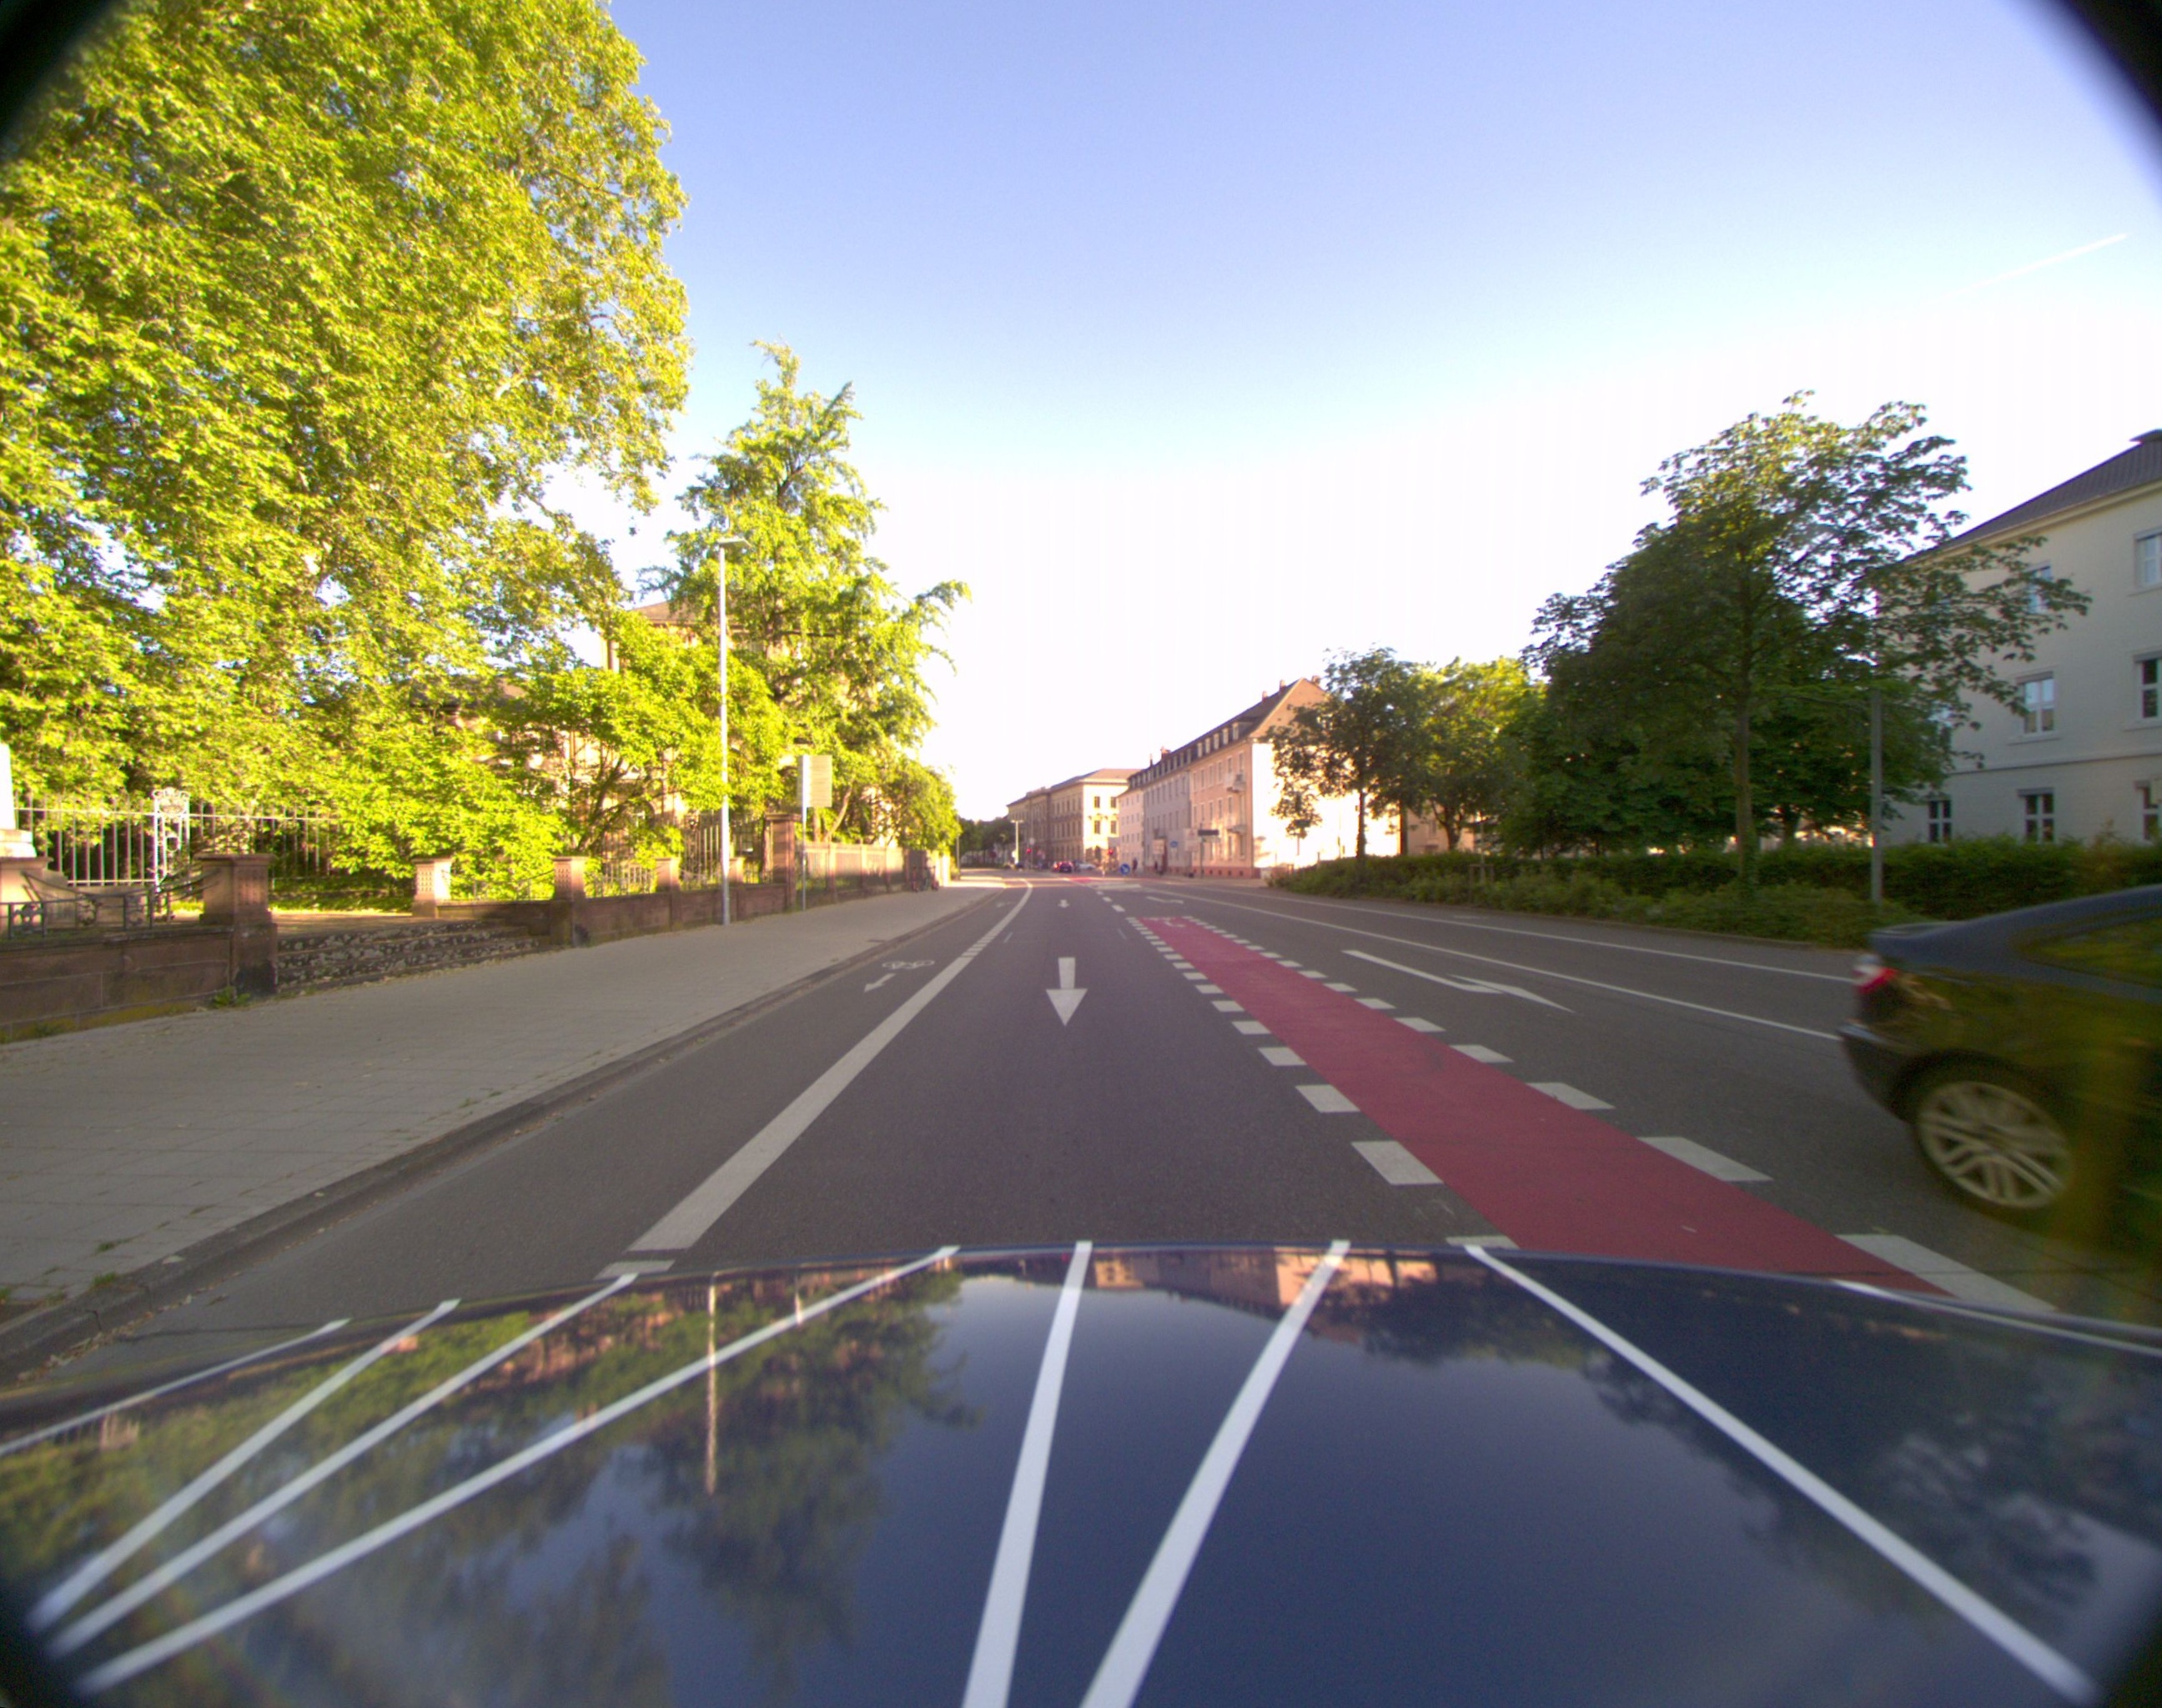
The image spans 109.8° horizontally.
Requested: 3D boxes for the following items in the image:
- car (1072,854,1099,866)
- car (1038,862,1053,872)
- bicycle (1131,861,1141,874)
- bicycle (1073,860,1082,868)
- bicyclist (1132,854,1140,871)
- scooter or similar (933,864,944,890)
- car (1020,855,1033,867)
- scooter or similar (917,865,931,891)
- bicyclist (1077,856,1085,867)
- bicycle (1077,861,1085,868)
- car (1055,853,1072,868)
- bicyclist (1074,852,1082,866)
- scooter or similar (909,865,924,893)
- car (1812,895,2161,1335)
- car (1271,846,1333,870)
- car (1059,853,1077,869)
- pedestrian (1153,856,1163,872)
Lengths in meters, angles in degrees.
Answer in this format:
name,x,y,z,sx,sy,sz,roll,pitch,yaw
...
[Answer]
name,x,y,z,sx,sy,sz,roll,pitch,yaw
car,0.760,0.987,127.136,4.513,2.093,2.000,0,0,-1
car,-6.046,2.210,129.050,1.639,1.478,3.697,-2,1,-18
bicycle,5.182,1.245,71.871,0.697,1.152,2.245,1,0,-3
bicycle,-0.528,1.415,109.052,0.956,1.216,2.776,0,0,-9
bicyclist,5.189,0.794,71.824,0.691,1.553,0.838,1,0,-3
scooter or similar,-7.096,1.135,37.775,0.517,1.233,1.521,0,0,-11
car,-9.233,1.232,129.369,1.867,1.871,4.000,-2,1,1
scooter or similar,-7.569,1.146,36.694,0.576,1.177,1.487,0,0,-7
bicyclist,0.030,0.994,104.052,1.026,1.481,0.870,0,0,-9
bicycle,0.009,1.424,104.216,0.663,0.907,2.861,0,0,-9
car,-2.334,0.877,102.126,1.999,2.002,3.998,0,0,-5
bicyclist,-0.494,0.690,108.867,0.956,2.002,1.307,0,0,-9
scooter or similar,-7.555,1.131,34.841,0.577,1.246,1.486,0,0,-15
car,4.464,0.896,1.590,1.709,1.397,4.264,0,0,-1
car,16.721,0.293,57.615,4.000,1.652,1.998,-2,1,-9
car,-1.673,0.831,96.288,1.999,2.002,3.998,0,0,-5
pedestrian,9.240,1.191,91.052,0.949,1.894,1.062,-2,1,-7
